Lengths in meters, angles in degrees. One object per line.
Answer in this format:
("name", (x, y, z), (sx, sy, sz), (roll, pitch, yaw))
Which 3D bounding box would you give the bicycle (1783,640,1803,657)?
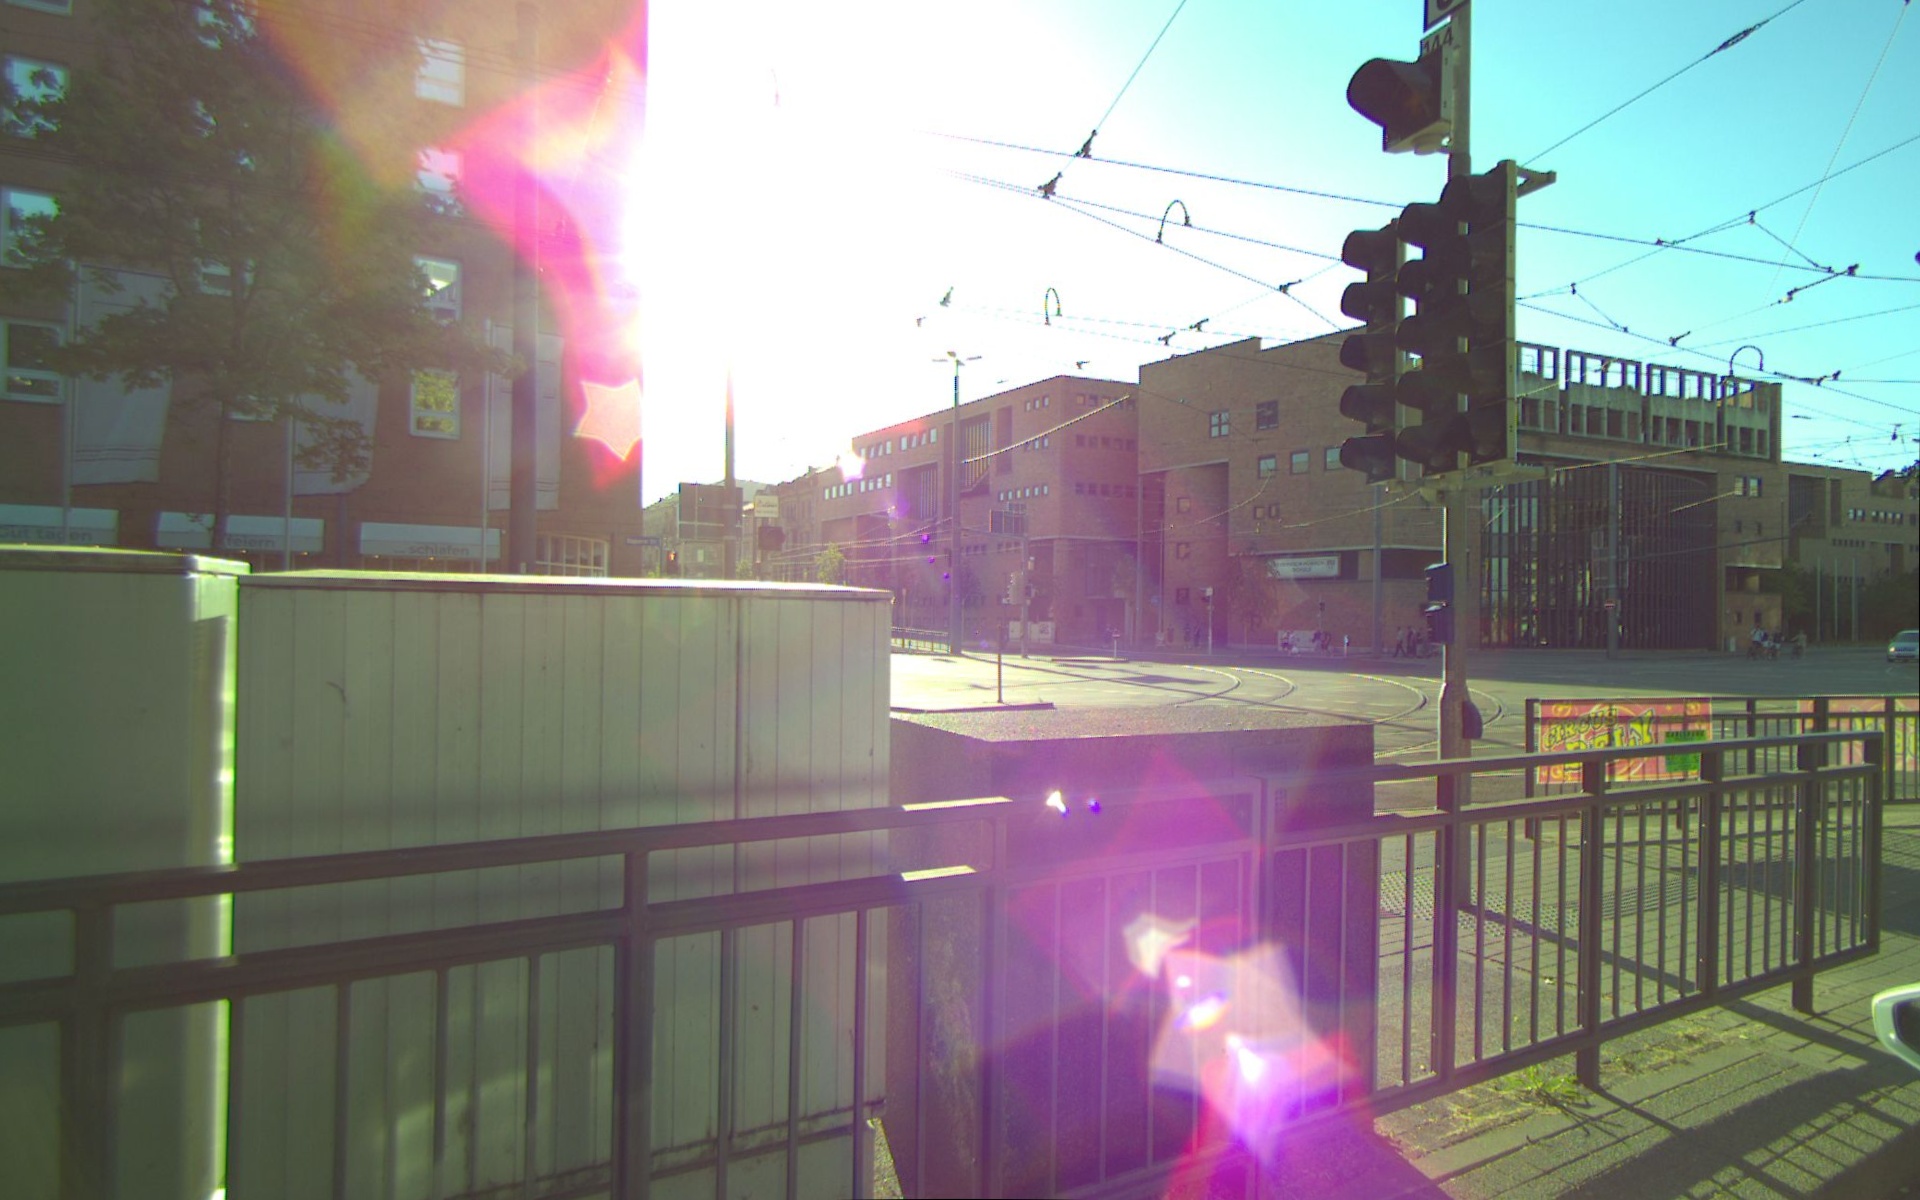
("bicycle", (49.410, 2.888, 59.581), (1.332, 0.976, 0.449), (1, -1, -30))

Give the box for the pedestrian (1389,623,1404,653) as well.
("pedestrian", (24.917, 2.184, 57.360), (0.609, 1.706, 0.651), (0, -1, 6))

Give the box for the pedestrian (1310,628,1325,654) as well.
("pedestrian", (20.406, 2.325, 57.352), (0.604, 1.473, 0.568), (1, -1, -13))

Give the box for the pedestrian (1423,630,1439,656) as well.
("pedestrian", (26.751, 2.427, 57.077), (0.588, 1.440, 0.642), (0, -1, 2))

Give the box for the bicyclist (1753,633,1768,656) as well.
("bicyclist", (46.775, 2.579, 58.683), (0.574, 1.321, 0.503), (1, -1, -30))

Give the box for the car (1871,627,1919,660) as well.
("car", (48.981, 2.226, 51.784), (3.954, 1.661, 1.983), (1, -2, -31))

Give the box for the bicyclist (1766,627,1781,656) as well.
("bicyclist", (45.077, 2.304, 55.678), (0.574, 1.624, 0.456), (1, -1, -30))

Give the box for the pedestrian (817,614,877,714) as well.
("pedestrian", (-1.967, 1.092, 17.478), (0.709, 1.669, 0.953), (1, -1, -30))

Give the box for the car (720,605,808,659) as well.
("car", (-9.404, 1.518, 47.887), (1.982, 2.419, 5.156), (1, -2, -38))

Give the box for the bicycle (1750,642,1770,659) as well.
("bicycle", (46.733, 2.968, 58.649), (1.304, 0.976, 0.465), (1, -1, -30))

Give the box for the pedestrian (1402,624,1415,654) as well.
("pedestrian", (25.196, 2.193, 56.448), (0.540, 1.706, 0.592), (0, -1, 15))

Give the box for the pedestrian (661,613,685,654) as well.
("pedestrian", (-14.686, 1.694, 51.385), (0.856, 2.040, 0.880), (2, 0, -39))

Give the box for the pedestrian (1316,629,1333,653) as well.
("pedestrian", (20.410, 2.295, 56.215), (0.670, 1.357, 0.603), (1, -1, -14))

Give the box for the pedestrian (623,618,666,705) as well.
("pedestrian", (-6.818, 1.305, 21.704), (0.713, 1.837, 0.904), (1, -1, -28))

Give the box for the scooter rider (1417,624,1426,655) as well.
("scooter rider", (25.427, 2.164, 55.384), (0.429, 1.669, 0.229), (0, -1, 15))

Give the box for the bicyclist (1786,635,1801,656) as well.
("bicyclist", (49.398, 2.683, 59.547), (0.574, 1.194, 0.503), (1, -1, -30))

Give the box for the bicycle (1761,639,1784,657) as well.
("bicycle", (45.099, 2.658, 55.734), (1.557, 0.976, 0.470), (1, -1, -30))

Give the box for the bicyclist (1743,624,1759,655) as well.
("bicyclist", (44.403, 2.221, 56.363), (0.574, 1.754, 0.534), (1, -1, -30))

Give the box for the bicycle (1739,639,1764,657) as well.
("bicycle", (44.422, 2.686, 56.381), (1.568, 0.976, 0.539), (1, -1, -30))

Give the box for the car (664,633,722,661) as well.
("car", (-14.360, 2.501, 53.916), (1.729, 1.372, 3.960), (1, -2, -36))

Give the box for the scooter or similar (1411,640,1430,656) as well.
("scooter or similar", (25.376, 2.641, 55.377), (0.931, 0.911, 0.176), (0, -1, 14))

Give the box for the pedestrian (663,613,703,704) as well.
("pedestrian", (-5.844, 1.220, 21.165), (0.647, 1.864, 0.835), (1, -1, -28))

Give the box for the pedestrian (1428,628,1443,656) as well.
("pedestrian", (27.393, 2.418, 57.911), (0.606, 1.647, 0.613), (0, -1, 4))

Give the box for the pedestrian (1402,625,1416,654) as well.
("pedestrian", (26.114, 2.291, 58.456), (0.539, 1.706, 0.573), (1, -1, -8))

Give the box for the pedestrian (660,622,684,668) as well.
("pedestrian", (-10.491, 1.637, 36.580), (0.658, 1.669, 0.638), (1, -1, -34))

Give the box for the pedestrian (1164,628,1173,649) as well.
("pedestrian", (14.899, 2.753, 71.668), (0.523, 1.482, 0.591), (0, -1, 3))

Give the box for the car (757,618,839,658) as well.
("car", (-8.416, 1.912, 51.798), (1.982, 1.928, 5.156), (1, -2, -38))

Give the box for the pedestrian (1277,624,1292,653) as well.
("pedestrian", (18.524, 2.220, 57.427), (0.580, 1.635, 0.595), (1, -1, -20))

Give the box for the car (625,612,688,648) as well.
("car", (-18.548, 1.805, 61.191), (1.982, 2.122, 5.156), (1, -2, -38))

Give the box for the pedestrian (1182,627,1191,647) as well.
("pedestrian", (16.142, 2.641, 71.555), (0.549, 1.445, 0.556), (0, -1, 1))

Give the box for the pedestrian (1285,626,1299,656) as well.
("pedestrian", (18.613, 2.275, 56.321), (0.540, 1.670, 0.598), (1, -1, -19))

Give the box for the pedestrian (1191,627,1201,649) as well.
("pedestrian", (16.296, 2.628, 69.408), (0.463, 1.482, 0.505), (1, -1, -37))

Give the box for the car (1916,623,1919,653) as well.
("car", (55.251, 2.114, 55.898), (3.954, 1.661, 1.983), (1, -2, -31))
